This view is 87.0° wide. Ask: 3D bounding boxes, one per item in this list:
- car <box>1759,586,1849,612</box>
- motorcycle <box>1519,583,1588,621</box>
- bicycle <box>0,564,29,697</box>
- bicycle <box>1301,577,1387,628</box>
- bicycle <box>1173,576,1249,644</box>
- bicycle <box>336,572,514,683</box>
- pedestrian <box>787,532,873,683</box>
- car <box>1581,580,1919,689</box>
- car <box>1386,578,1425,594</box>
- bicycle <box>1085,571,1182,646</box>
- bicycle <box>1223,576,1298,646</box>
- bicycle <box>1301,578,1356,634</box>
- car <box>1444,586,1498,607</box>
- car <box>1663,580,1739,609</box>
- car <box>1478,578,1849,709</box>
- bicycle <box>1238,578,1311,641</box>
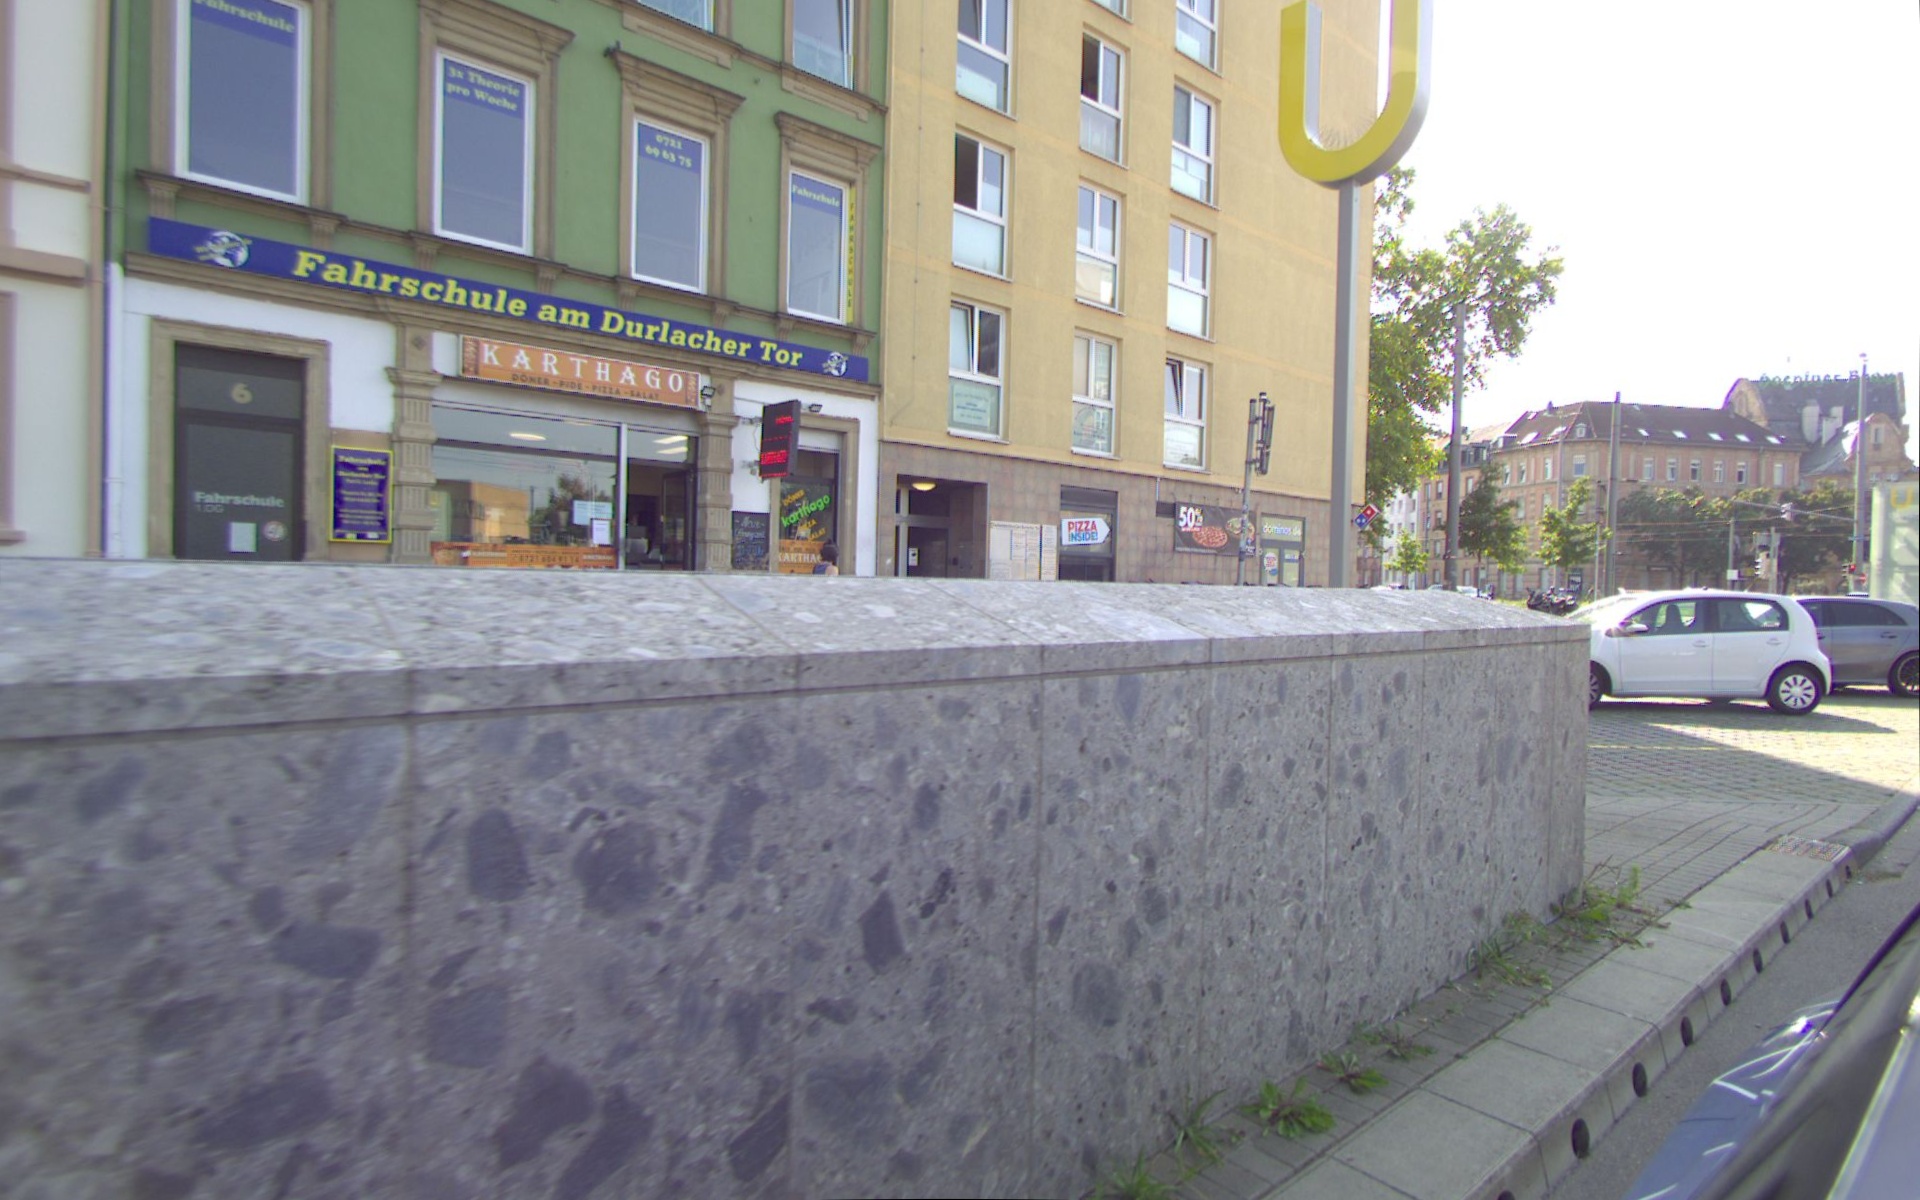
[{"bbox_3d":[55.171,-0.079,66.264,1.639,1.483,4.300,3,1,-16],"label":"car"},{"bbox_3d":[19.087,0.064,32.539,2.253,1.161,0.707,1,1,-24],"label":"motorcycle"},{"bbox_3d":[-8.921,0.259,8.436,1.689,1.148,0.384,0,2,-40],"label":"bicycle"},{"bbox_3d":[9.999,0.049,26.421,0.659,1.221,2.021,1,2,-40],"label":"bicycle"},{"bbox_3d":[5.004,0.178,20.098,0.602,1.277,1.967,2,2,41],"label":"bicycle"},{"bbox_3d":[-5.879,0.276,11.181,1.689,1.148,0.384,0,2,-40],"label":"bicycle"},{"bbox_3d":[-1.475,0.068,11.486,0.724,1.649,0.610,0,2,-40],"label":"pedestrian"},{"bbox_3d":[12.104,0.465,15.156,4.336,1.441,1.844,1,1,9],"label":"car"},{"bbox_3d":[49.490,-1.552,112.483,1.778,1.644,4.297,2,1,-9],"label":"car"},{"bbox_3d":[3.156,0.140,18.314,1.962,1.277,0.603,0,2,-41],"label":"bicycle"},{"bbox_3d":[5.896,0.196,19.788,0.602,1.277,1.967,2,2,41],"label":"bicycle"},{"bbox_3d":[8.620,0.131,23.651,1.608,1.277,0.469,0,2,-41],"label":"bicycle"},{"bbox_3d":[37.946,-0.280,75.234,1.766,1.459,3.638,1,2,-9],"label":"car"},{"bbox_3d":[54.102,-0.418,74.015,1.757,1.910,4.299,3,1,-12],"label":"car"},{"bbox_3d":[8.791,0.486,12.928,3.469,1.482,1.619,1,1,9],"label":"car"},{"bbox_3d":[6.762,0.189,21.696,1.817,1.277,0.603,0,2,-41],"label":"bicycle"}]
